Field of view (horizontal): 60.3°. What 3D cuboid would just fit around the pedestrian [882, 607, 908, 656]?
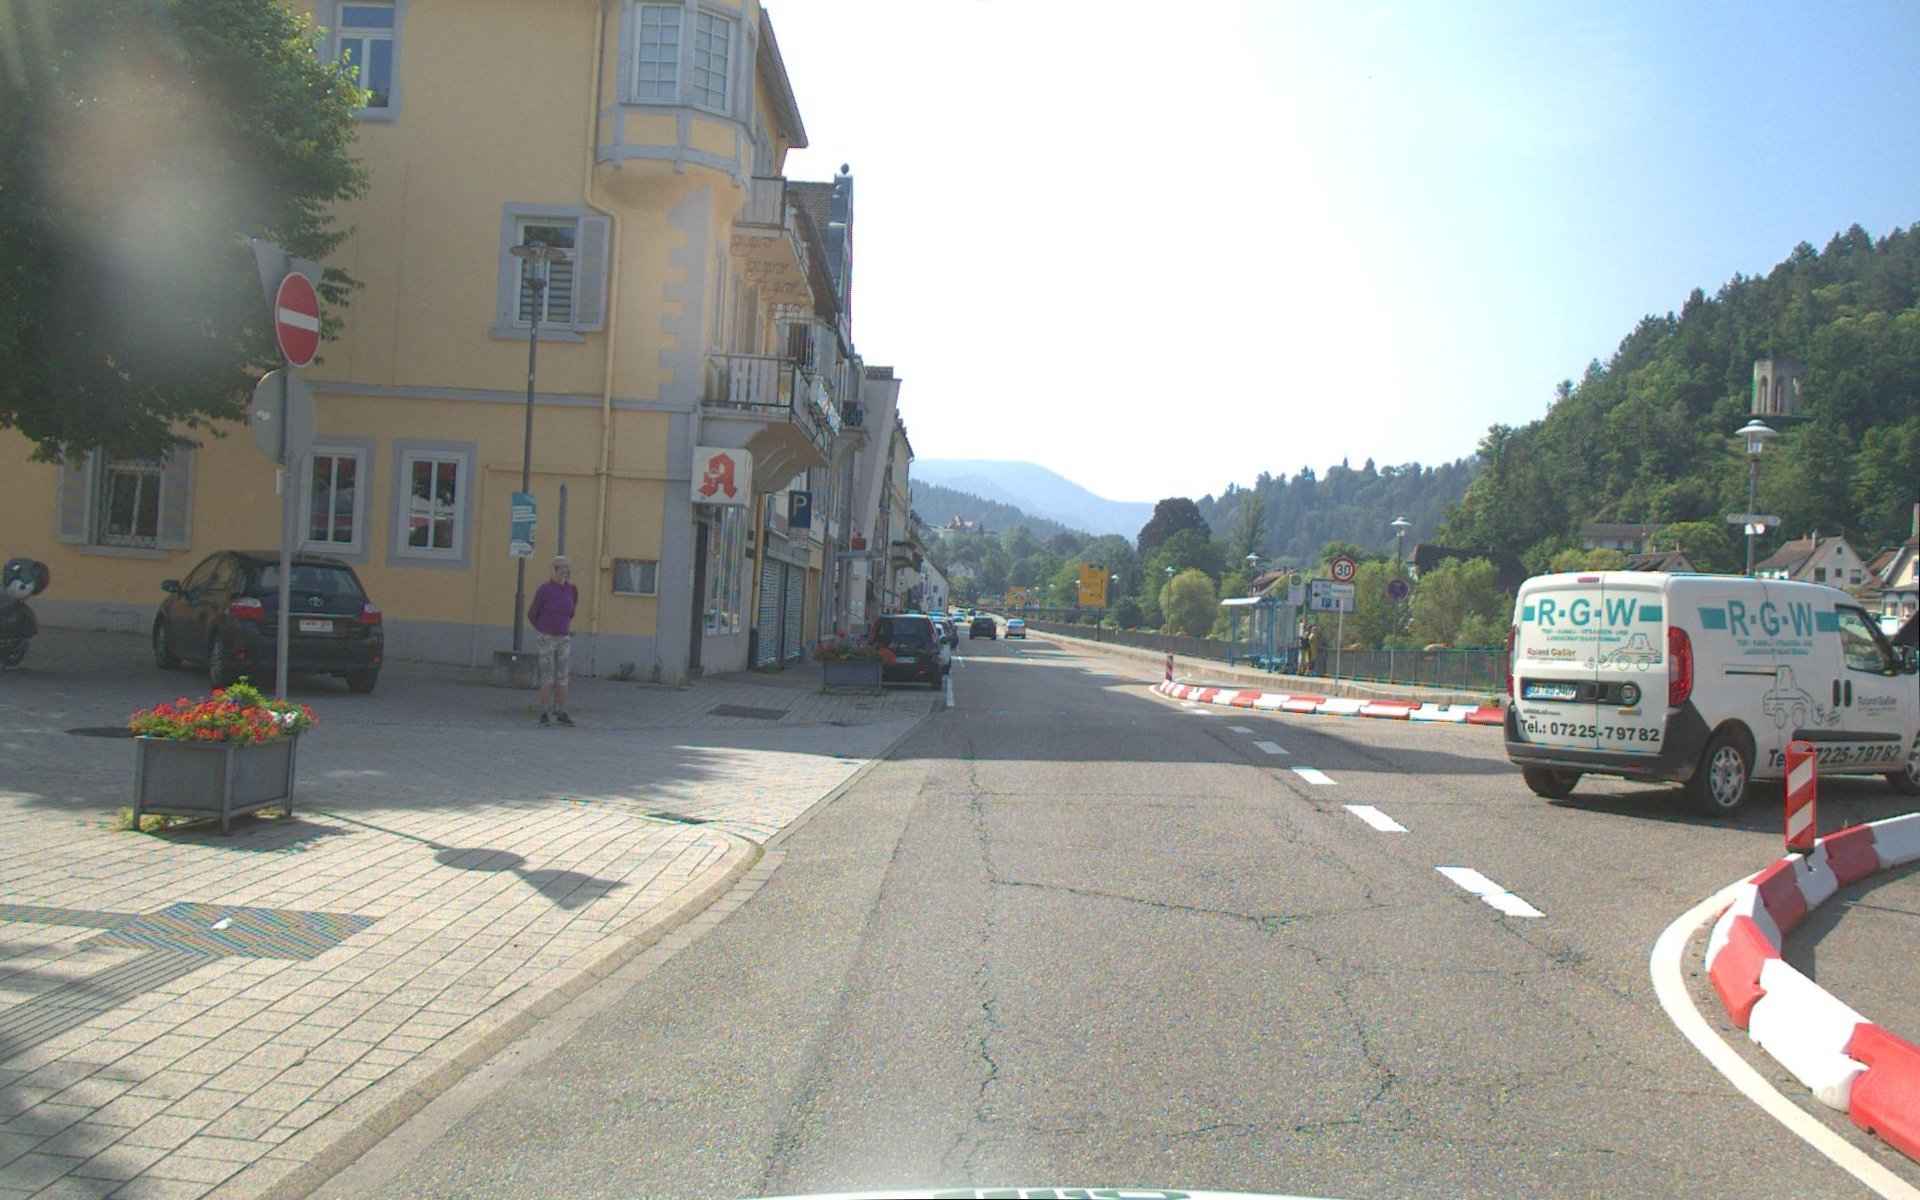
[{"bbox_3d":[-2.324,1.123,59.246,0.675,1.726,0.659,1,-1,27],"label":"pedestrian"}]

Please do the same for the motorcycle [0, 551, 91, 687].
[{"bbox_3d":[-10.521,0.183,18.141,0.867,1.384,2.088,2,2,-1],"label":"motorcycle"}]

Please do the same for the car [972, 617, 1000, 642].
[{"bbox_3d":[1.871,2.104,119.673,1.953,1.691,4.000,3,0,0],"label":"car"}]

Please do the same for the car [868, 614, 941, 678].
[{"bbox_3d":[-1.347,1.109,40.998,1.712,1.473,3.275,2,-1,-1],"label":"car"}]

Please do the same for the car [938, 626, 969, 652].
[{"bbox_3d":[-0.343,1.970,84.638,1.532,1.241,3.275,2,-1,-1],"label":"car"}]

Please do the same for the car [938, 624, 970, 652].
[{"bbox_3d":[-0.349,2.067,90.547,1.712,1.473,3.275,2,-1,-1],"label":"car"}]

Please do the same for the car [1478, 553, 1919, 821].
[{"bbox_3d":[6.544,0.616,14.040,4.262,1.939,1.829,0,2,-34],"label":"car"}]

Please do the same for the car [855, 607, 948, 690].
[{"bbox_3d":[-1.206,0.990,34.835,1.809,1.596,3.567,2,-1,-1],"label":"car"}]

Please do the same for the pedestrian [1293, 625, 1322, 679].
[{"bbox_3d":[11.284,1.684,53.739,0.773,1.736,0.492,3,-1,2],"label":"pedestrian"}]

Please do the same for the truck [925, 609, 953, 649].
[{"bbox_3d":[-1.368,1.849,107.228,1.712,2.511,4.660,2,-1,-1],"label":"truck"}]

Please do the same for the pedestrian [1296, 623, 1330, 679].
[{"bbox_3d":[11.327,1.639,53.088,0.849,1.736,0.777,3,-1,2],"label":"pedestrian"}]

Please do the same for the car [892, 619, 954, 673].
[{"bbox_3d":[-1.083,1.341,48.916,1.712,1.473,3.793,2,-1,-1],"label":"car"}]

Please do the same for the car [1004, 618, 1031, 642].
[{"bbox_3d":[4.476,2.346,129.516,1.953,1.691,4.000,3,0,0],"label":"car"}]

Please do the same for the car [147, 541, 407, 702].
[{"bbox_3d":[-8.105,0.199,19.436,1.902,1.569,3.909,3,1,-36],"label":"car"}]

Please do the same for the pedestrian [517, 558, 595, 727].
[{"bbox_3d":[-4.297,0.446,17.589,0.668,1.744,0.614,3,0,-20],"label":"pedestrian"}]
